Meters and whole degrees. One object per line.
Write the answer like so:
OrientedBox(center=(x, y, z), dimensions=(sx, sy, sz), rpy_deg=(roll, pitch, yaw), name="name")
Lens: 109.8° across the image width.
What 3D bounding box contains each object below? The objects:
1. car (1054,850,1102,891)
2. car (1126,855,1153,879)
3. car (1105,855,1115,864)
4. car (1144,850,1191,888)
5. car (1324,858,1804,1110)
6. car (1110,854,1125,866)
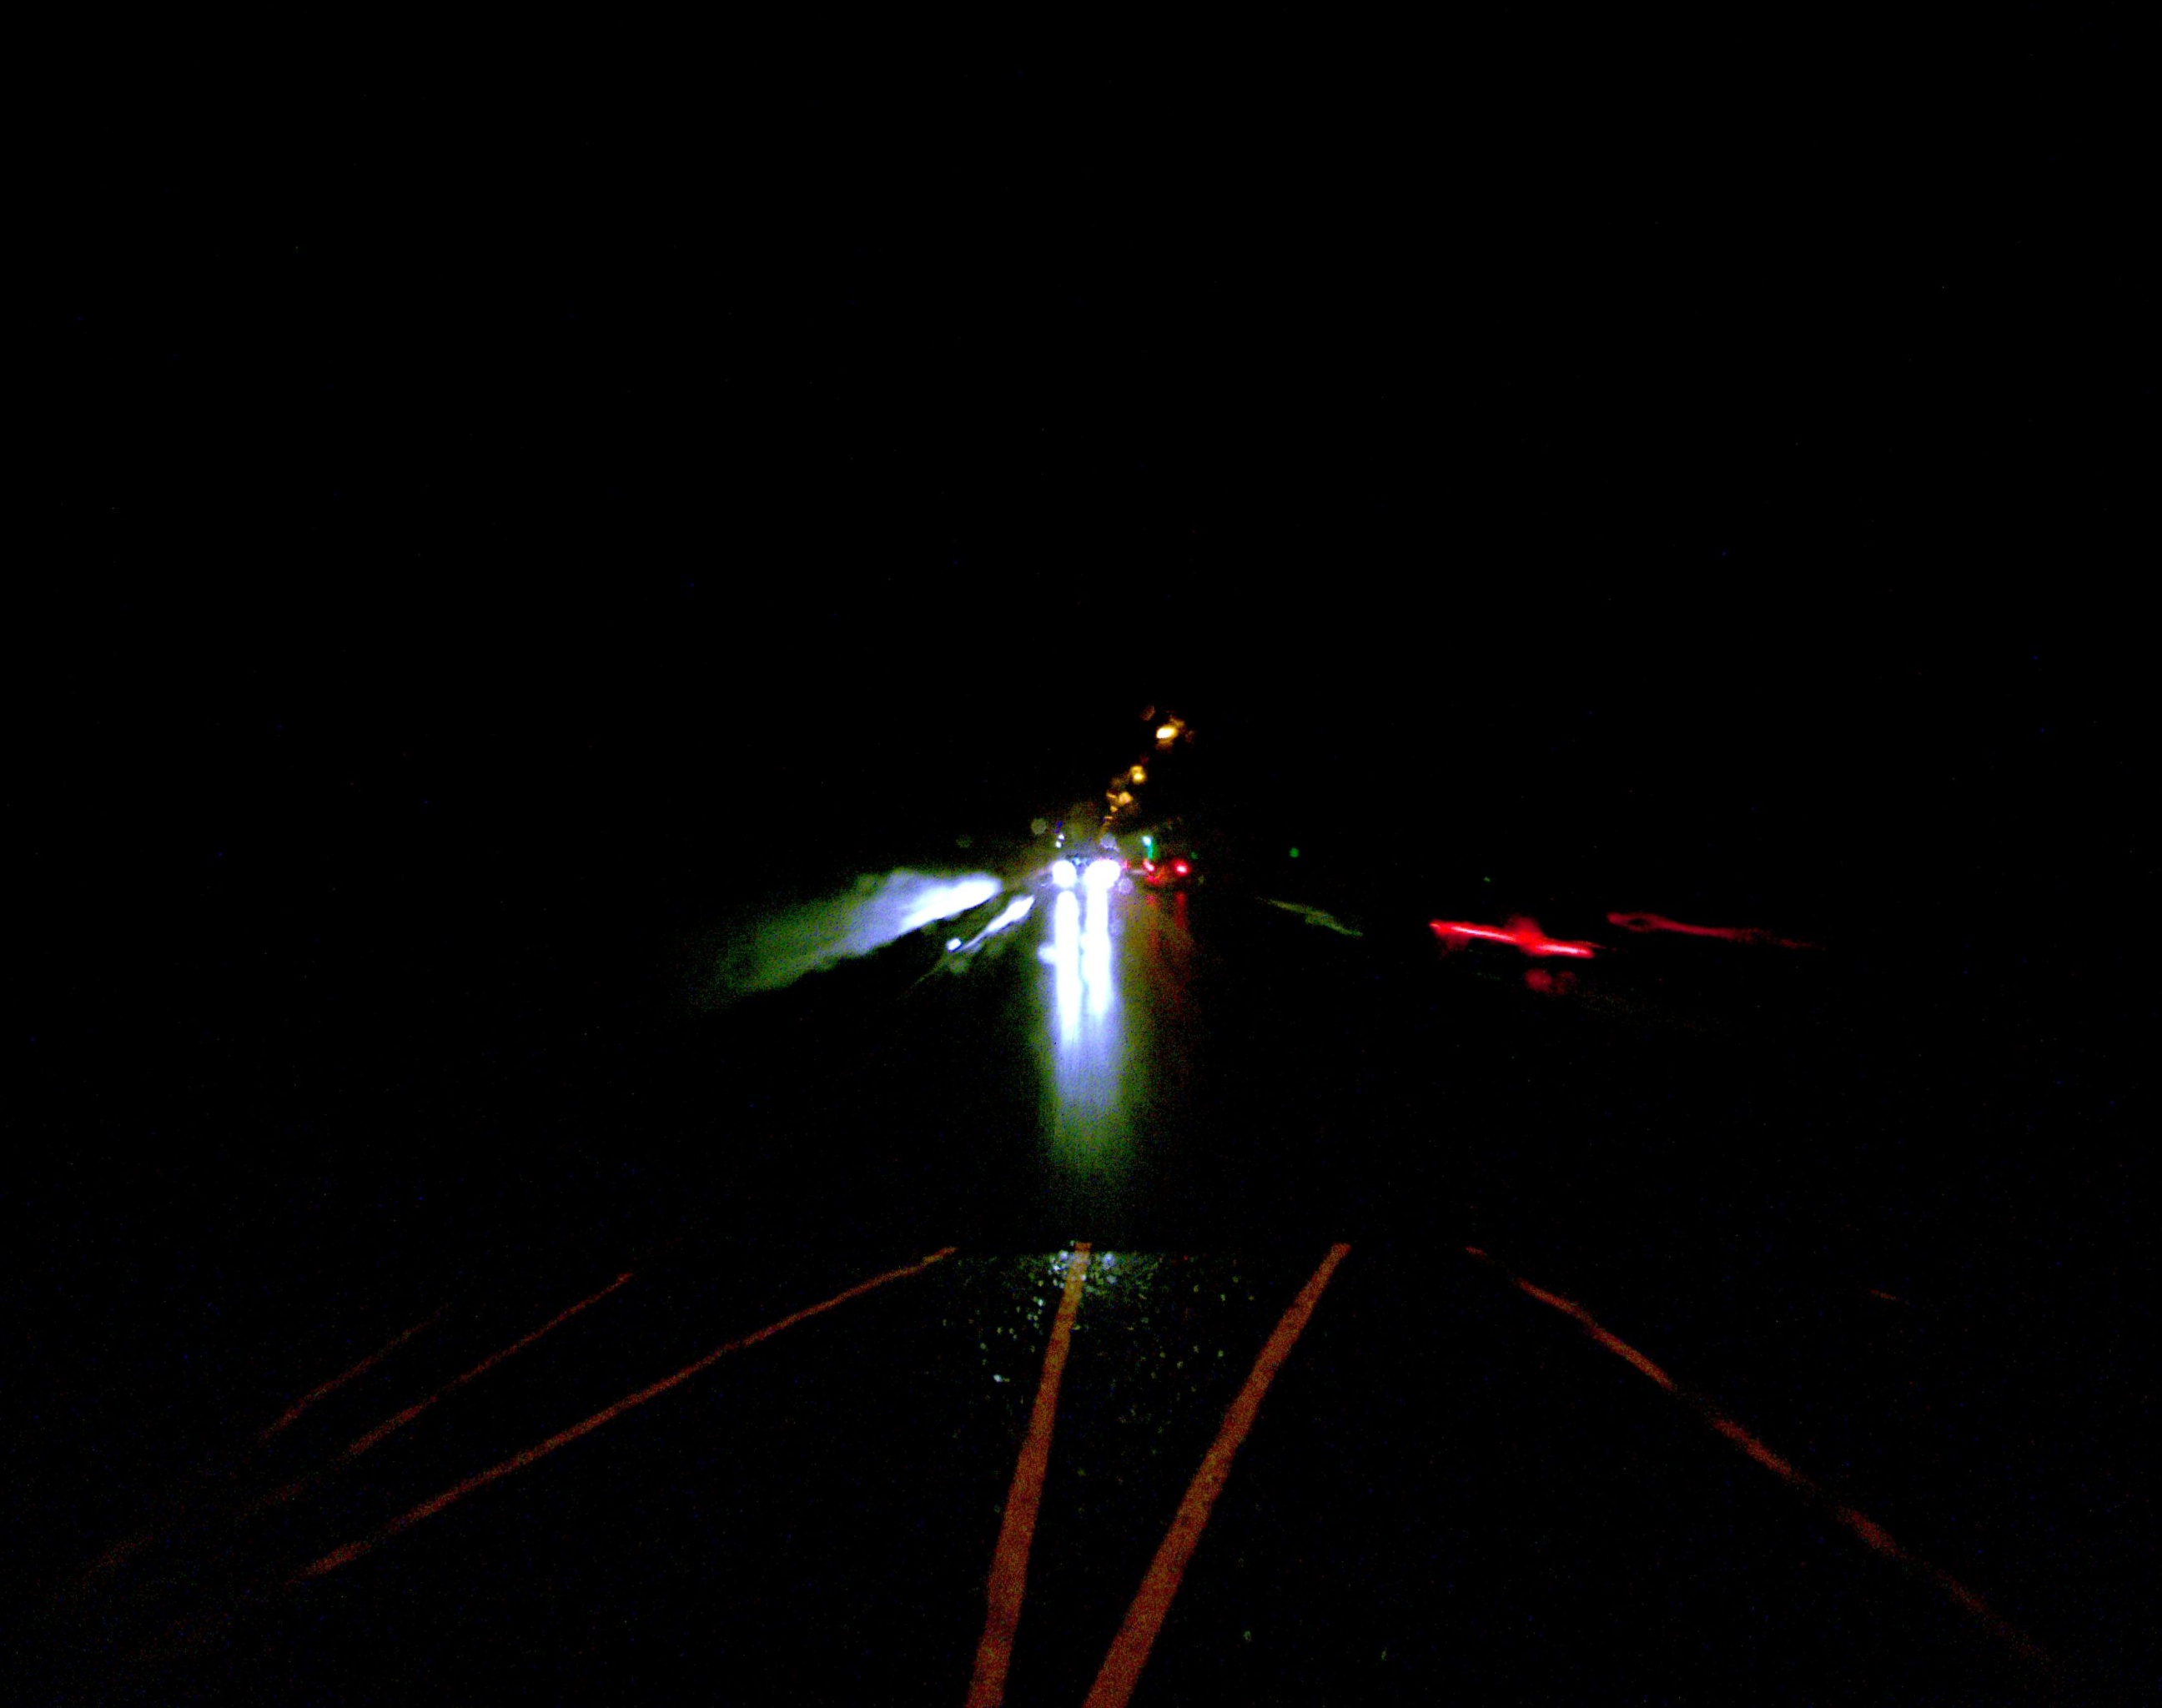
OrientedBox(center=(-0.170, 0.722, 35.821), dimensions=(1.999, 1.547, 3.998), rpy_deg=(-6, 2, 0), name="car")
OrientedBox(center=(4.136, 0.903, 54.444), dimensions=(1.673, 1.637, 3.907), rpy_deg=(0, -1, 1), name="car")
OrientedBox(center=(5.354, 1.062, 141.519), dimensions=(1.695, 1.496, 3.744), rpy_deg=(-2, 0, 0), name="car")
OrientedBox(center=(3.882, 0.637, 34.515), dimensions=(1.705, 1.546, 3.873), rpy_deg=(-2, 0, 1), name="car")
OrientedBox(center=(3.438, 0.785, 6.311), dimensions=(1.694, 1.414, 3.624), rpy_deg=(-2, 0, 1), name="car")
OrientedBox(center=(4.564, 0.695, 95.065), dimensions=(1.715, 1.454, 3.575), rpy_deg=(-2, 0, 1), name="car")
